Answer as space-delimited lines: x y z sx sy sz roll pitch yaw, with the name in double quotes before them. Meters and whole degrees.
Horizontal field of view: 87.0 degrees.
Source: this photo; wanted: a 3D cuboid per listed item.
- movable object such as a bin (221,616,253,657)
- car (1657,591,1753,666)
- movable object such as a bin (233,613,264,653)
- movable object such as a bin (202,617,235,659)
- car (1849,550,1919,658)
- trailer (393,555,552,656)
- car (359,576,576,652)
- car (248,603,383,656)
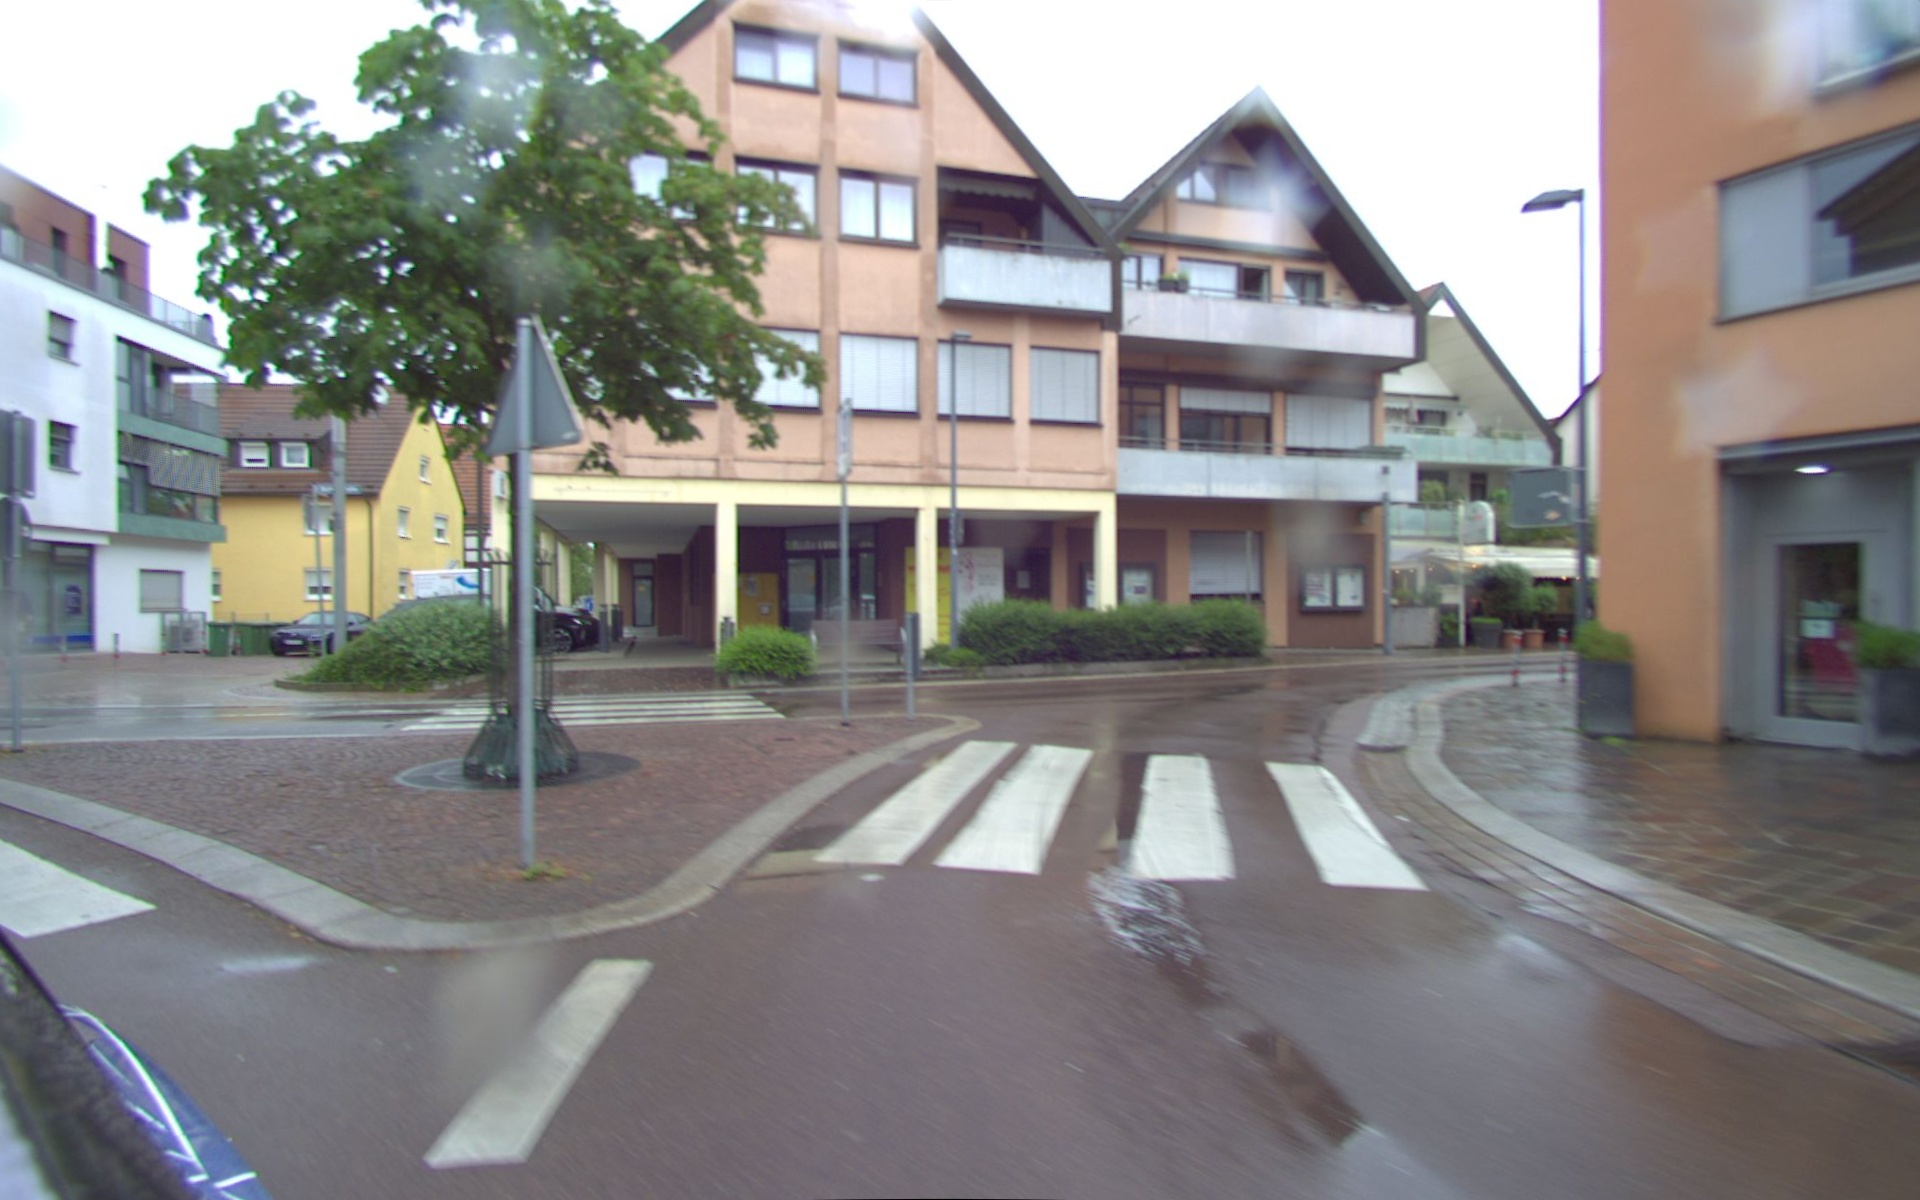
"movable object such as a bin" -22.629 1.126 31.679 0.622 1.242 0.524 0 1 -5
"car" 22.570 0.785 30.618 2.000 2.029 3.805 1 2 42
"movable object such as a bin" -22.680 1.060 32.264 0.622 1.242 0.524 0 1 -5
"movable object such as a bin" -22.524 1.157 30.741 0.622 1.242 0.524 0 1 -5
"car" 23.189 0.058 22.782 5.857 2.316 2.218 0 1 -21
"trailer" -11.468 0.126 24.016 3.041 2.103 1.841 -4 0 -16
"car" -10.409 0.255 21.711 3.932 1.519 1.842 0 1 -16
"car" -21.193 0.926 33.524 1.969 1.519 4.551 0 1 -6
